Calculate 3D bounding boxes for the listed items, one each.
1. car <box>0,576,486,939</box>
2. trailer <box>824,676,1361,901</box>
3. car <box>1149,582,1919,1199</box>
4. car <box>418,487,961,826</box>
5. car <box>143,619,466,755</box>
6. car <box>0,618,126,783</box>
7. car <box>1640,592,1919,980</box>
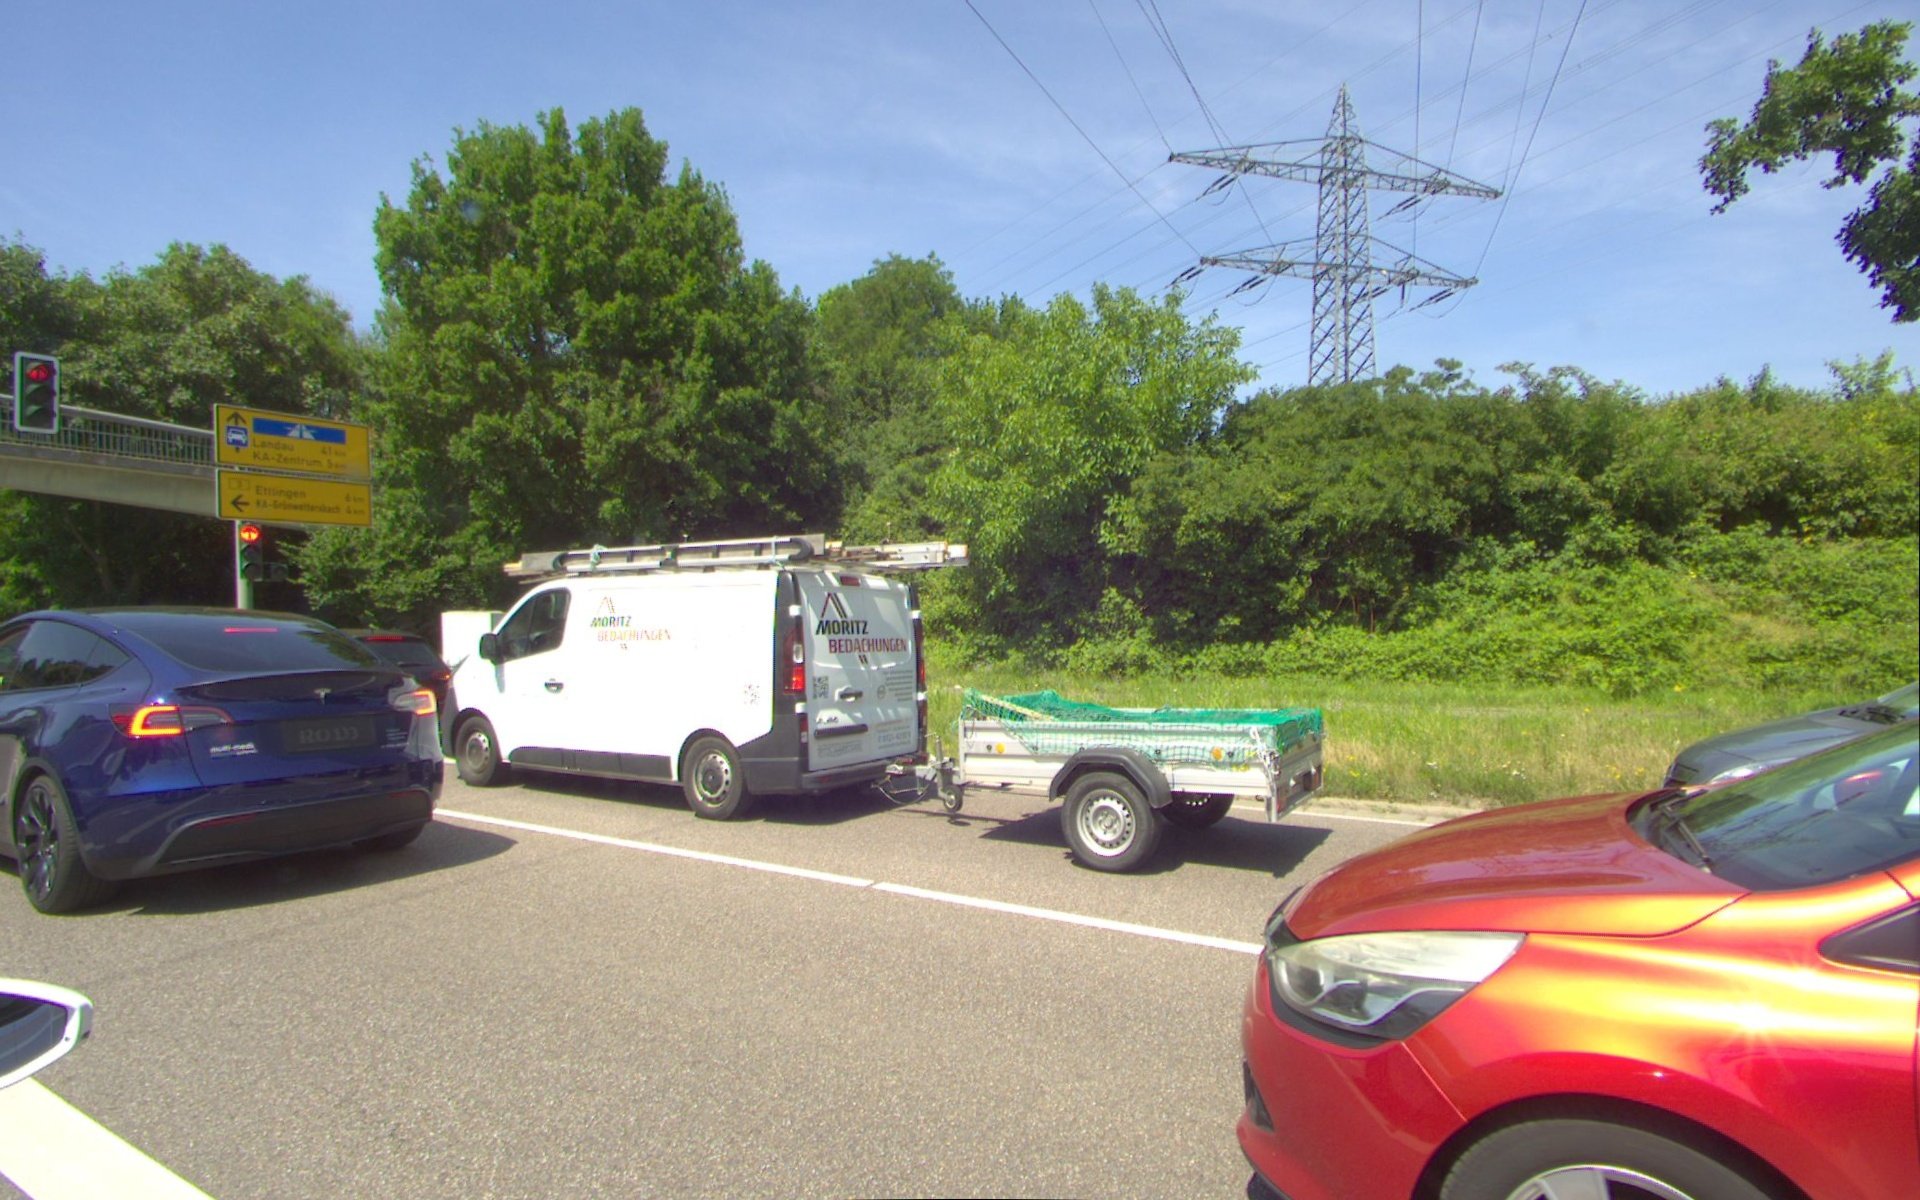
[{"bbox_3d":[-5.326,0.771,6.606,4.455,1.665,1.897,-1,-1,32],"label":"car"},{"bbox_3d":[0.873,1.115,6.887,3.276,1.019,1.703,-1,-1,32],"label":"trailer"},{"bbox_3d":[2.555,0.728,1.836,4.006,1.480,1.740,-1,-1,32],"label":"car"},{"bbox_3d":[-2.610,0.450,9.173,5.002,2.379,1.929,-1,-1,32],"label":"car"},{"bbox_3d":[-8.583,1.008,13.027,4.318,1.497,1.897,-1,-2,32],"label":"car"},{"bbox_3d":[-10.357,0.927,10.092,3.882,1.497,1.897,-1,-2,32],"label":"car"},{"bbox_3d":[5.442,0.770,4.291,4.105,1.616,1.761,-1,0,32],"label":"car"}]
